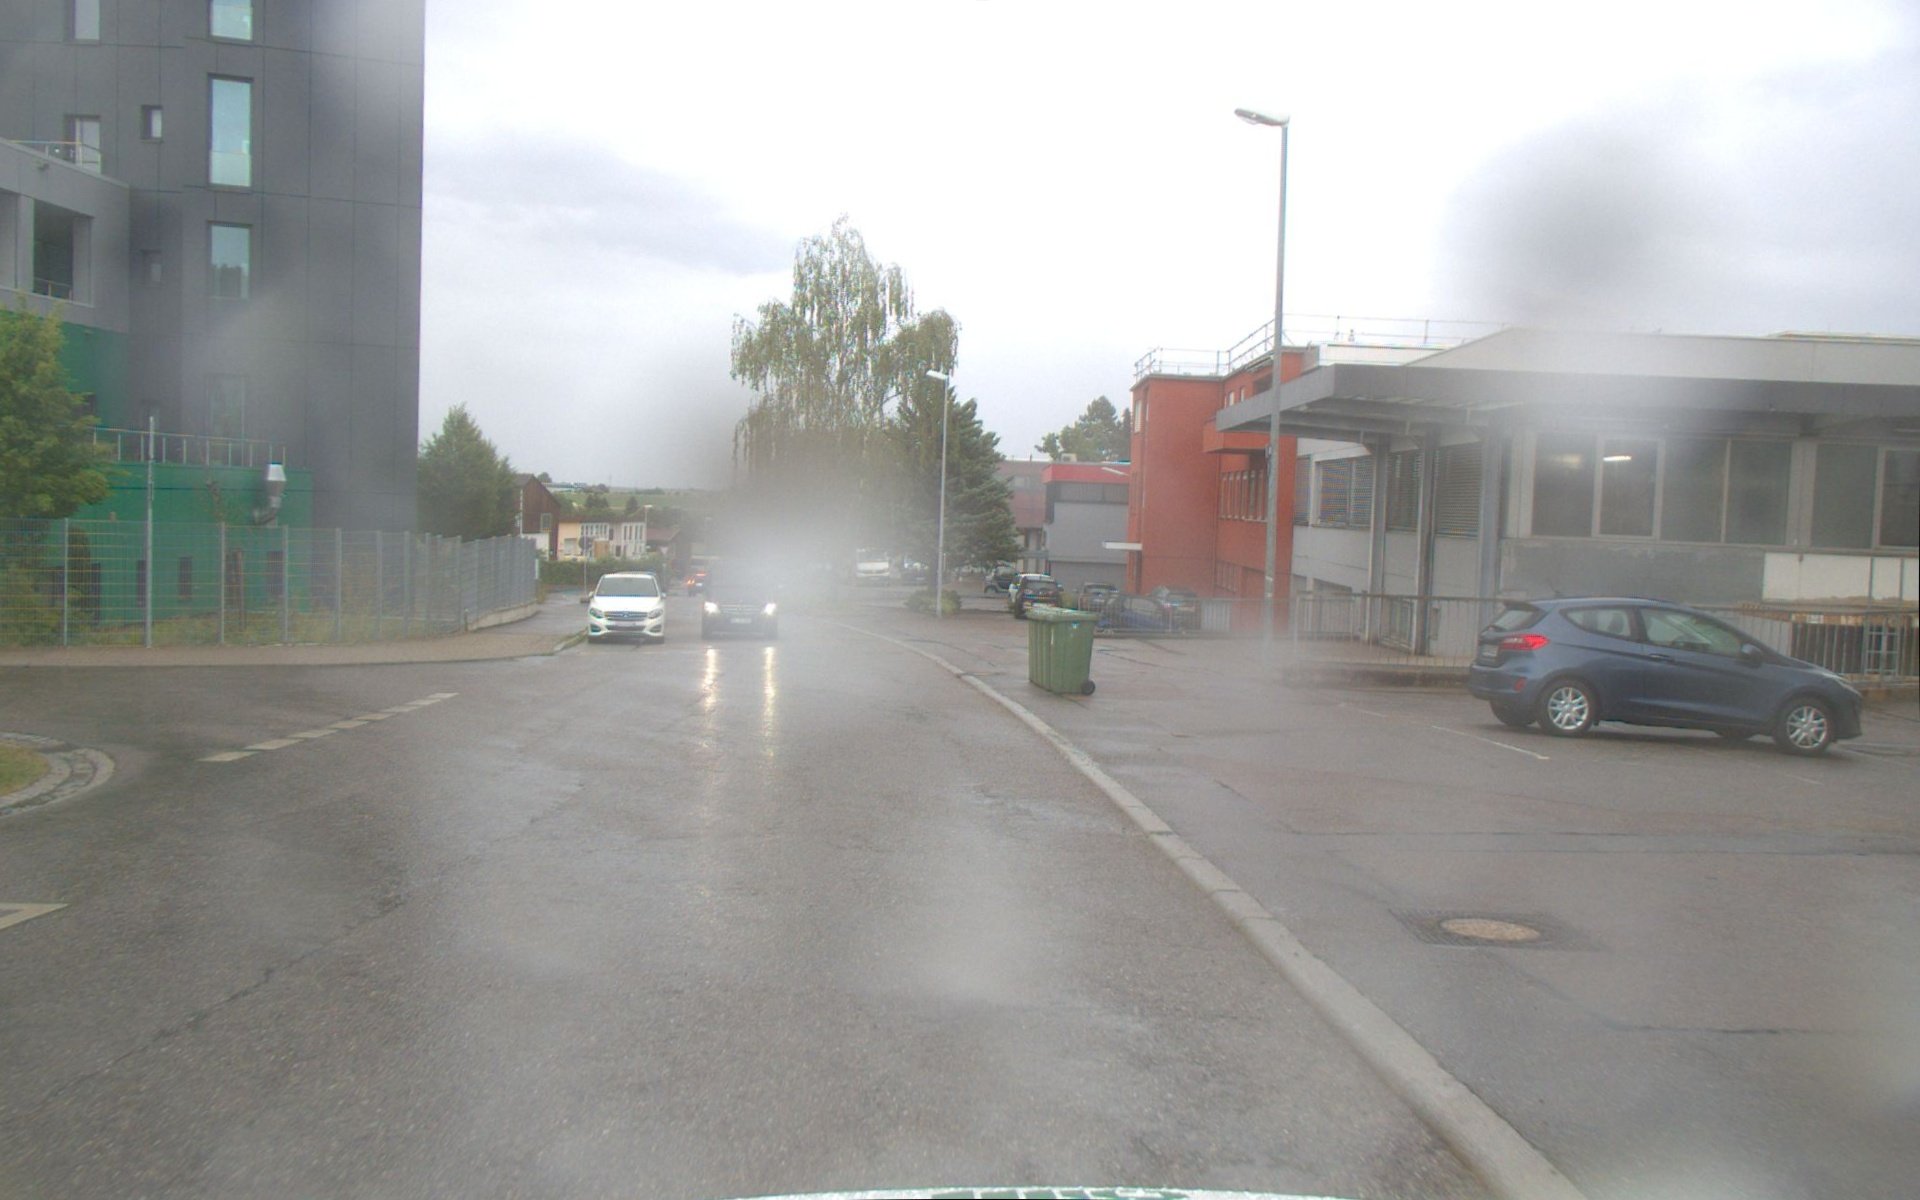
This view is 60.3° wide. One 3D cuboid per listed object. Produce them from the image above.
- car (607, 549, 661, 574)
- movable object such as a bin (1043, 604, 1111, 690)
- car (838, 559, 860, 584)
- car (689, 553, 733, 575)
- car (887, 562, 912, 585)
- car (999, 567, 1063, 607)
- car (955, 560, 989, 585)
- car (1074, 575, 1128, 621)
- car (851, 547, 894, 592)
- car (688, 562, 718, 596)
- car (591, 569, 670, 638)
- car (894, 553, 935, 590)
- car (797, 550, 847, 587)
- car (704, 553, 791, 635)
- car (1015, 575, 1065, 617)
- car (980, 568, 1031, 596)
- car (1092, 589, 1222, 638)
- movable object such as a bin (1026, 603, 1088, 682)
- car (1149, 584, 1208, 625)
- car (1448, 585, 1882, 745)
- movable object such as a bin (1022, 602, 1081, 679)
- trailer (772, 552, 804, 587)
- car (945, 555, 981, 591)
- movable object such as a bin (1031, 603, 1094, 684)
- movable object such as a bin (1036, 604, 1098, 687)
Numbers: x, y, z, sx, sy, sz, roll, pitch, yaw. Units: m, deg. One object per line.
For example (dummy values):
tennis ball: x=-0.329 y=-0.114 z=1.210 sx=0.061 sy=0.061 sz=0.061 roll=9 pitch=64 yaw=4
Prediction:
car: x=-26.541 y=-3.135 z=134.830 sx=3.905 sy=1.914 sz=2.000 roll=2 pitch=0 yaw=1
movable object such as a bin: x=1.553 y=0.618 z=22.010 sx=0.790 sy=1.112 sz=0.709 roll=1 pitch=0 yaw=-5
car: x=-6.937 y=-1.756 z=103.021 sx=1.265 sy=1.449 sz=2.543 roll=1 pitch=0 yaw=-6
car: x=-26.579 y=-3.854 z=176.474 sx=4.150 sy=2.264 sz=2.001 roll=1 pitch=-1 yaw=6
car: x=-3.842 y=-1.648 z=104.009 sx=1.371 sy=1.349 sz=2.697 roll=1 pitch=0 yaw=-6
car: x=2.966 y=-0.532 z=69.922 sx=2.026 sy=1.579 sz=3.993 roll=1 pitch=0 yaw=-7
car: x=0.746 y=-1.731 z=104.598 sx=1.606 sy=1.479 sz=3.504 roll=1 pitch=0 yaw=-9
car: x=5.354 y=-0.062 z=63.106 sx=1.703 sy=1.682 sz=4.000 roll=1 pitch=0 yaw=0
car: x=-5.165 y=-1.792 z=97.418 sx=2.151 sy=2.502 sz=3.993 roll=1 pitch=0 yaw=-8
car: x=-16.457 y=-1.309 z=105.978 sx=1.834 sy=2.064 sz=3.993 roll=1 pitch=0 yaw=-8
car: x=-7.814 y=0.088 z=39.366 sx=1.738 sy=1.539 sz=4.134 roll=1 pitch=0 yaw=-11
car: x=-2.746 y=-1.680 z=98.366 sx=2.104 sy=2.049 sz=3.934 roll=1 pitch=0 yaw=-6
car: x=-8.117 y=-1.809 z=96.994 sx=2.227 sy=2.049 sz=3.984 roll=1 pitch=0 yaw=-15
car: x=-5.310 y=-0.173 z=41.930 sx=1.847 sy=1.919 sz=5.068 roll=1 pitch=1 yaw=-4
car: x=2.988 y=-0.146 z=62.443 sx=1.662 sy=1.501 sz=4.000 roll=1 pitch=0 yaw=0
car: x=2.314 y=-0.916 z=84.560 sx=2.498 sy=1.375 sz=1.241 roll=2 pitch=0 yaw=-5
car: x=5.282 y=0.341 z=44.597 sx=3.330 sy=1.183 sz=1.792 roll=2 pitch=1 yaw=2
movable object such as a bin: x=1.391 y=0.607 z=23.792 sx=0.793 sy=1.095 sz=0.581 roll=1 pitch=0 yaw=-5
car: x=8.198 y=0.176 z=62.247 sx=1.693 sy=1.446 sz=4.000 roll=1 pitch=0 yaw=0
car: x=7.421 y=0.665 z=17.674 sx=3.815 sy=1.407 sz=1.821 roll=3 pitch=0 yaw=0
movable object such as a bin: x=1.344 y=0.591 z=24.395 sx=0.786 sy=1.098 sz=0.624 roll=1 pitch=0 yaw=-5
trailer: x=-10.521 y=-1.857 z=101.010 sx=1.817 sy=2.049 sz=3.994 roll=2 pitch=1 yaw=-7
car: x=0.149 y=-1.612 z=98.740 sx=1.747 sy=2.049 sz=3.628 roll=1 pitch=0 yaw=-6
movable object such as a bin: x=1.434 y=0.608 z=23.232 sx=0.793 sy=1.109 sz=0.541 roll=1 pitch=0 yaw=-5
movable object such as a bin: x=1.463 y=0.616 z=22.658 sx=0.760 sy=1.094 sz=0.583 roll=1 pitch=0 yaw=-5
